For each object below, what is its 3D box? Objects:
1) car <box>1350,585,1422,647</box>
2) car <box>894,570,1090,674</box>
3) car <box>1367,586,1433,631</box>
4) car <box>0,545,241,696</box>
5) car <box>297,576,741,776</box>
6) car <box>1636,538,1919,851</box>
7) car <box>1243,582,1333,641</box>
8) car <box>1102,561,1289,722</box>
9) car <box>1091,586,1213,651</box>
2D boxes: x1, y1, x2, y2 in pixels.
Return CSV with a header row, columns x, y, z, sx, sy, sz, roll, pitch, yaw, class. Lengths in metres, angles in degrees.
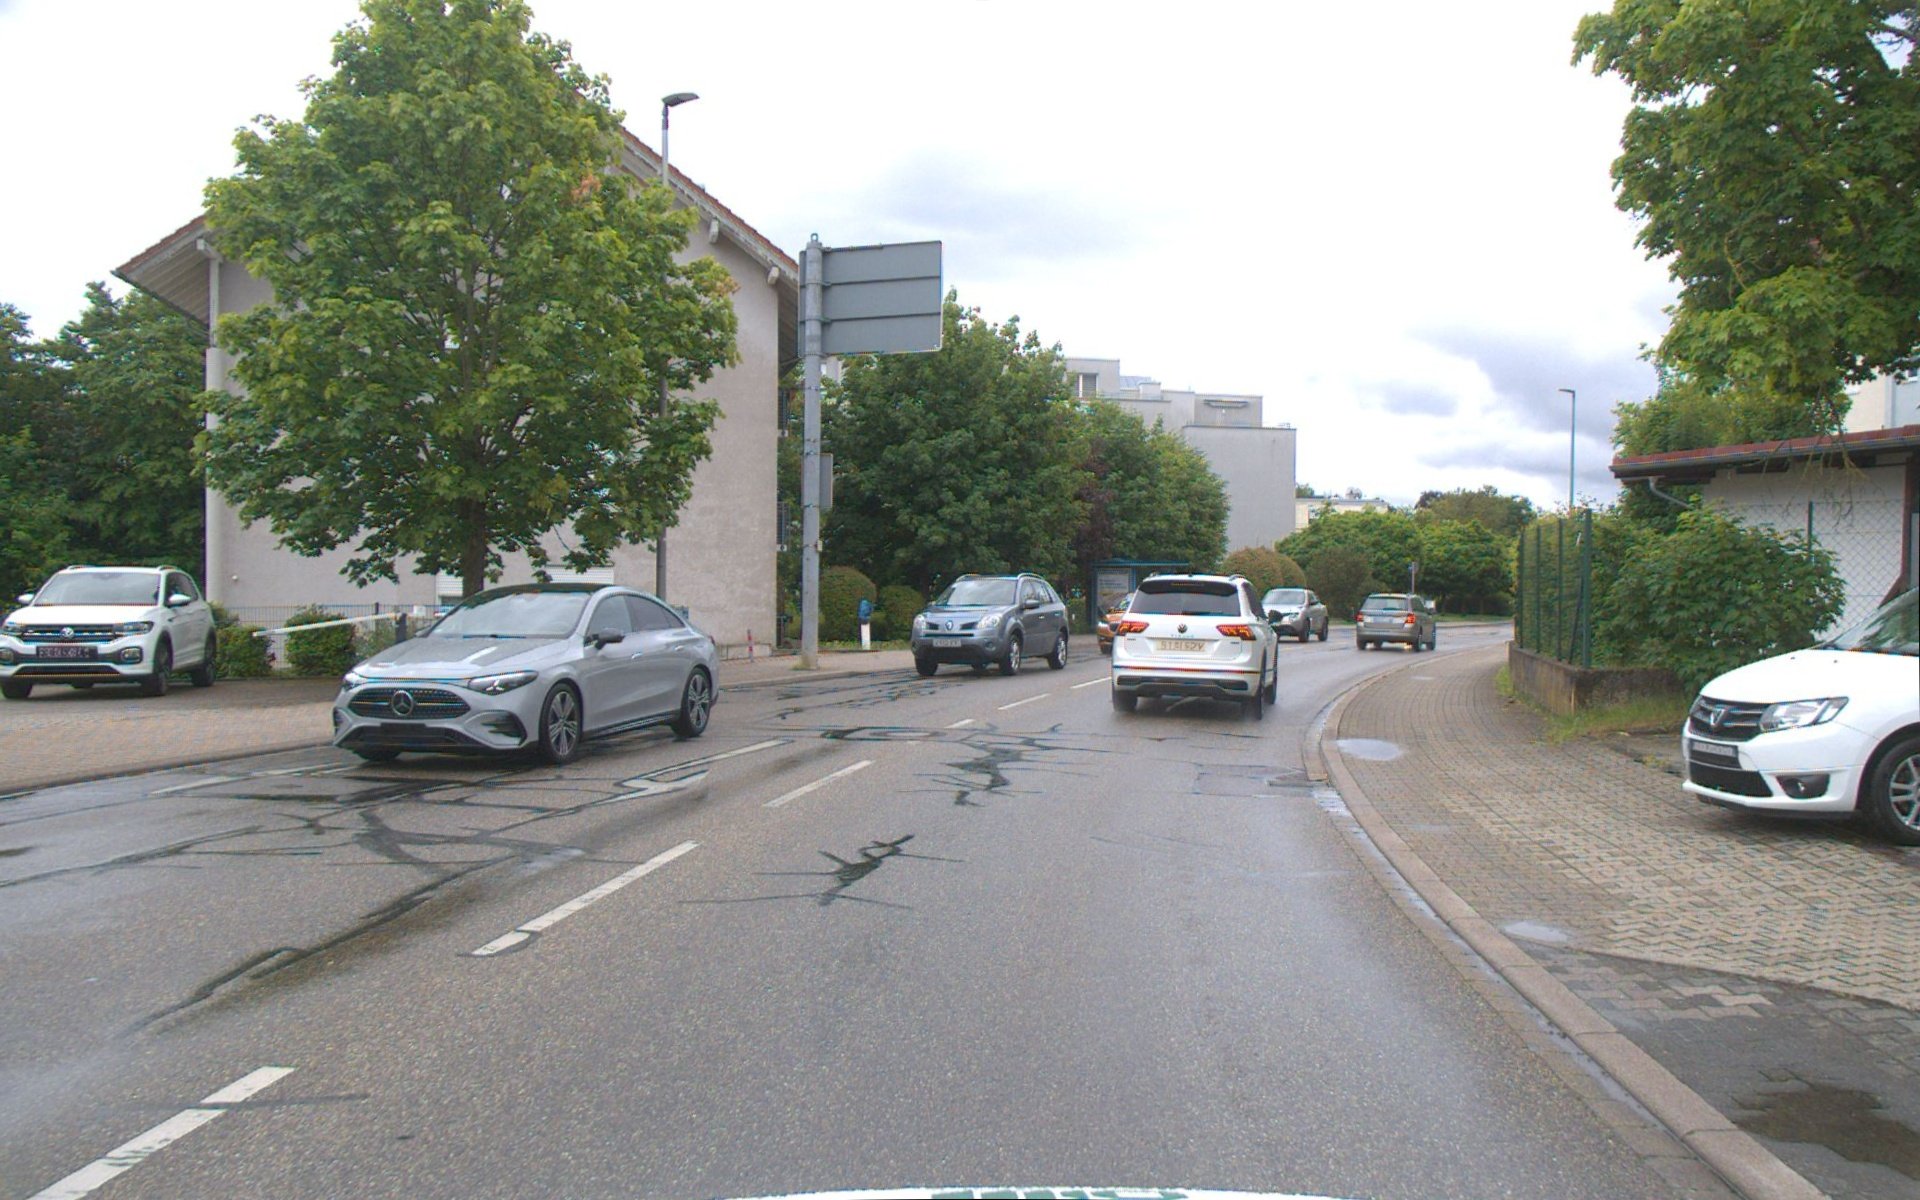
x,y,z,sx,sy,sz,roll,pitch,yaw,class
11.415,0.459,44.191,1.728,1.536,4.002,1,-2,16,car
0.649,0.338,29.069,1.864,1.686,4.263,1,1,25,car
16.671,0.307,62.586,1.863,1.617,4.114,0,0,23,car
-10.492,0.285,20.716,1.959,1.680,3.986,2,-2,-13,car
-3.657,0.534,14.693,1.861,1.415,4.493,1,2,14,car
6.586,0.402,9.949,4.254,1.624,1.765,-4,1,-2,car
9.974,0.323,50.069,1.863,1.686,4.114,0,0,23,car
3.080,0.447,20.886,1.880,1.752,4.268,2,1,14,car
4.683,0.413,39.864,1.863,1.465,4.114,0,0,23,car
